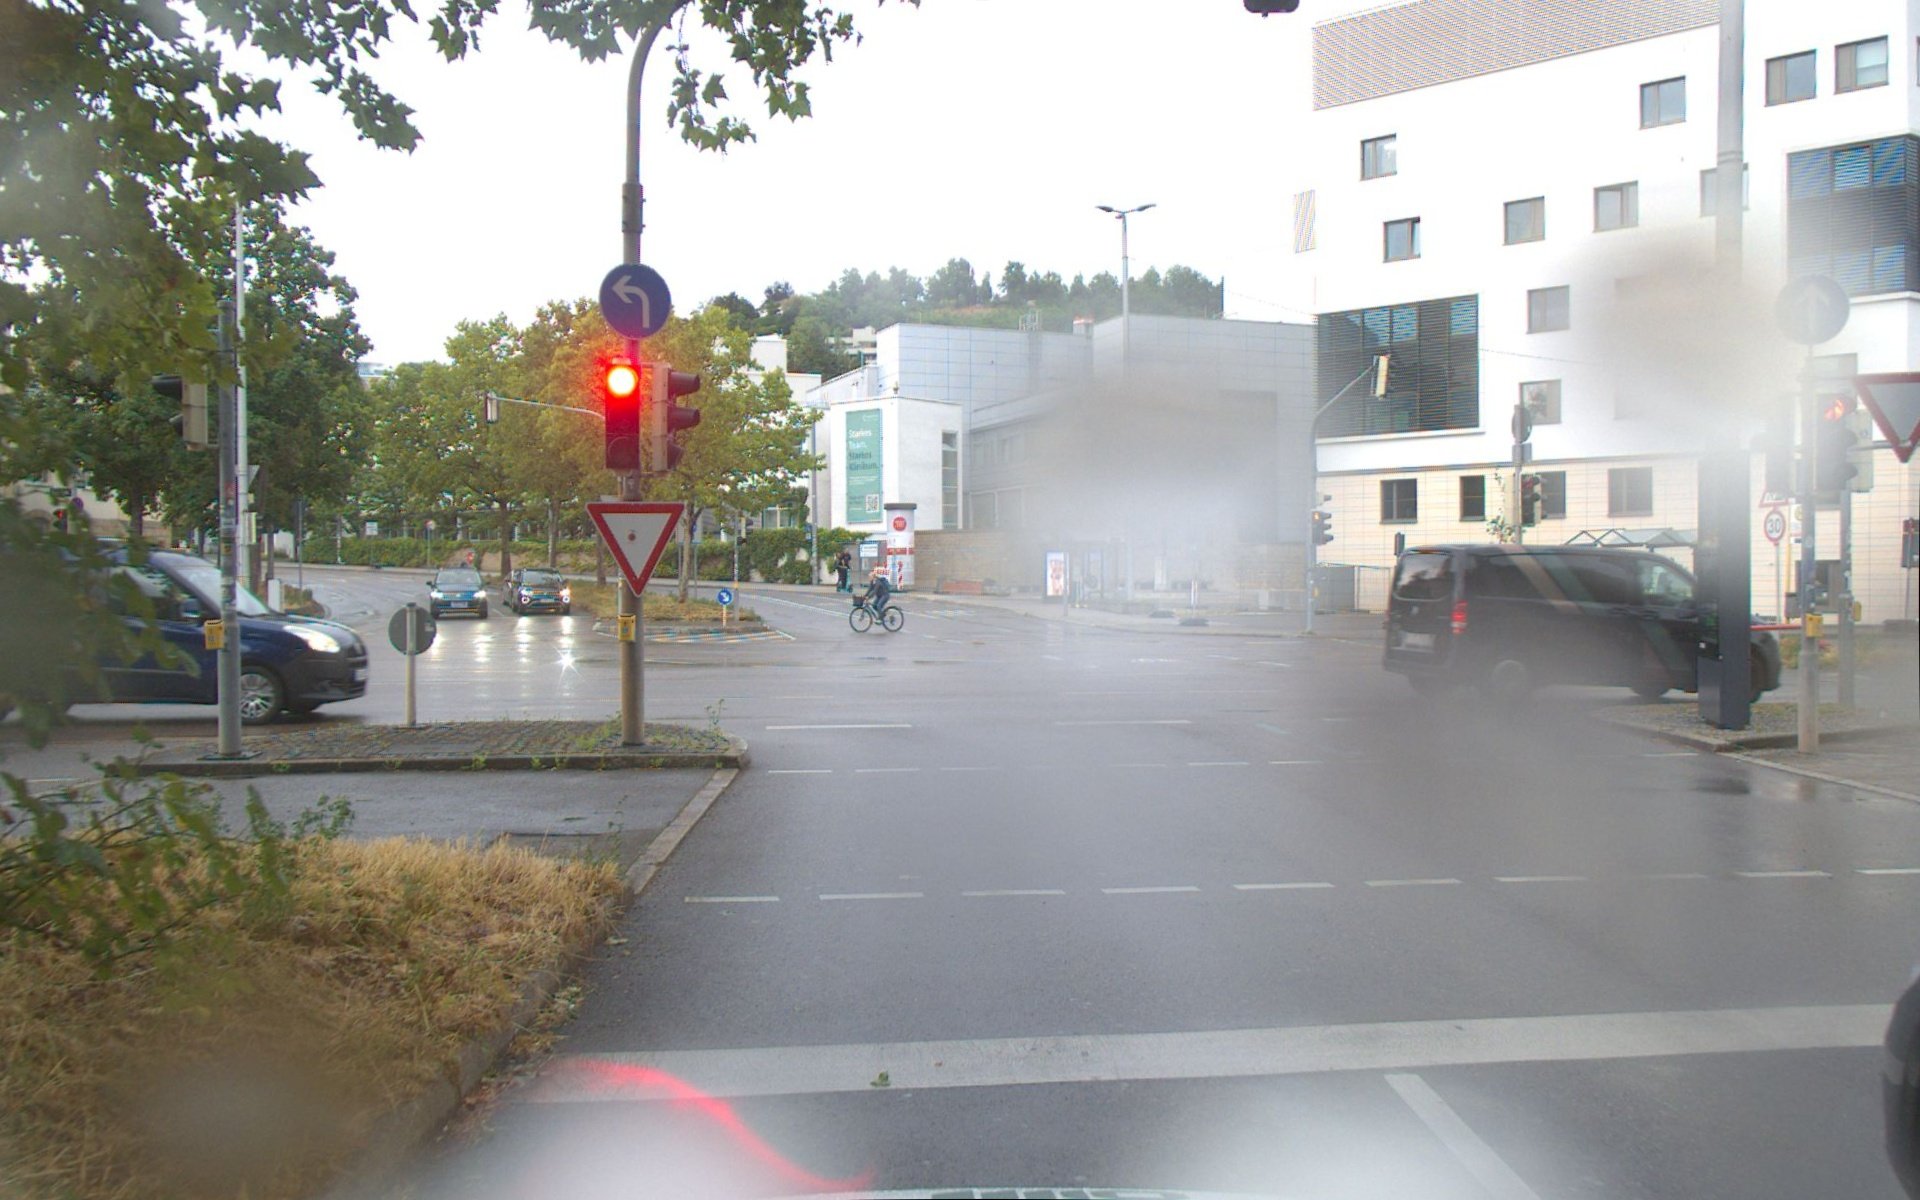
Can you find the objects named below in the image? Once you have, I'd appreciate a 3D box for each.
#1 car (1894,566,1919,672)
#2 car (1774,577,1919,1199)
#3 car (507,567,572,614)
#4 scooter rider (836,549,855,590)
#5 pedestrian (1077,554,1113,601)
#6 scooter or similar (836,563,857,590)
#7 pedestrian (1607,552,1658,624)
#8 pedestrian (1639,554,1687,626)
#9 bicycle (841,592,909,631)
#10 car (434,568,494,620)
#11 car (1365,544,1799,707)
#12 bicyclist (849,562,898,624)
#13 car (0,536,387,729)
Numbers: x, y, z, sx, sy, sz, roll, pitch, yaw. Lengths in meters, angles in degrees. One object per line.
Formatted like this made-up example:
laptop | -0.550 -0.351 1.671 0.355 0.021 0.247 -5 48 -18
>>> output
car | 17.826 0.275 26.631 4.872 1.702 1.992 -1 0 -15
car | 2.867 0.755 1.780 1.636 1.491 4.511 0 1 -2
car | -15.050 -0.365 59.073 1.764 1.612 3.974 0 1 -22
scooter rider | -5.441 -1.450 78.674 0.713 1.916 0.628 2 -1 -21
pedestrian | 5.182 -0.853 63.416 1.232 1.749 1.016 1 -1 -2
scooter or similar | -5.402 -1.115 78.714 0.582 1.260 1.305 2 -1 -22
pedestrian | 17.905 -0.317 44.026 0.934 1.872 0.821 1 -1 -12
pedestrian | 19.633 -0.266 46.208 0.980 1.969 0.955 1 -1 9
bicycle | -2.330 0.313 45.521 1.797 1.075 0.641 1 0 -31
car | -16.540 -0.249 55.106 1.839 1.591 4.256 -1 2 -18
car | 7.563 0.262 20.267 4.688 1.840 1.994 0 1 -13
bicyclist | -2.371 -0.177 45.466 1.113 1.661 0.695 2 -1 -31
car | -8.493 0.306 17.559 4.211 1.941 1.796 0 1 -5
